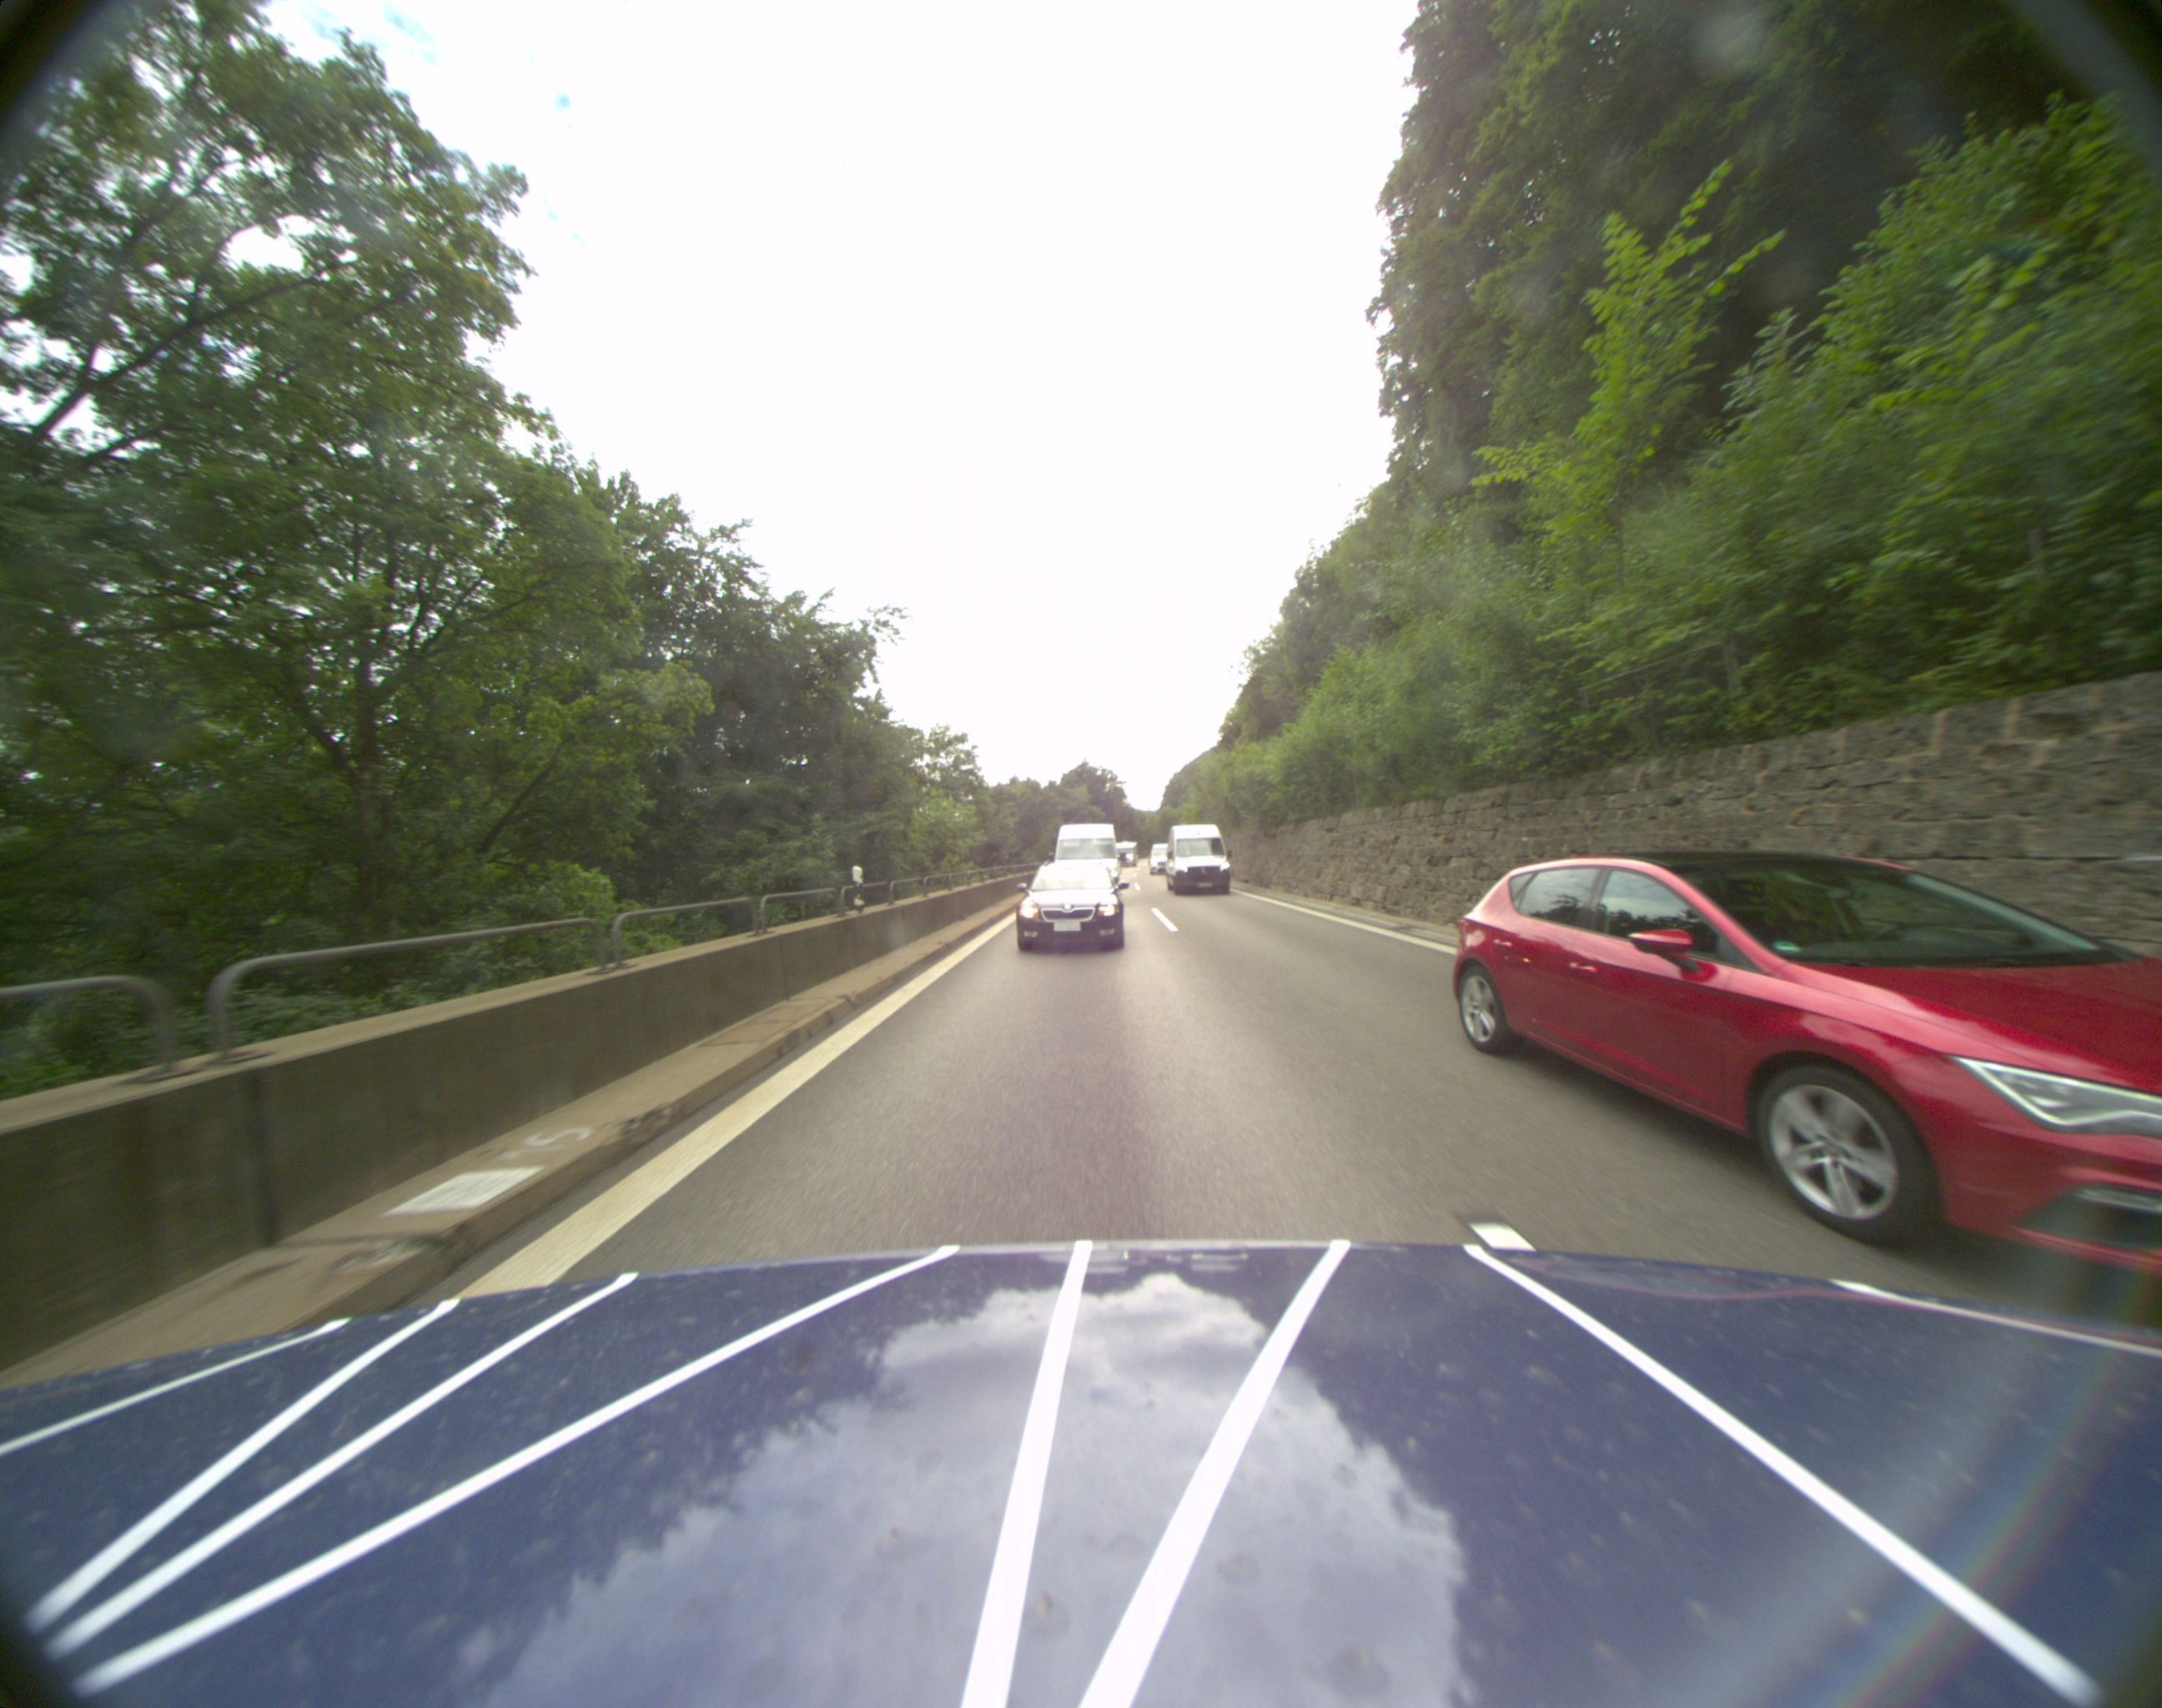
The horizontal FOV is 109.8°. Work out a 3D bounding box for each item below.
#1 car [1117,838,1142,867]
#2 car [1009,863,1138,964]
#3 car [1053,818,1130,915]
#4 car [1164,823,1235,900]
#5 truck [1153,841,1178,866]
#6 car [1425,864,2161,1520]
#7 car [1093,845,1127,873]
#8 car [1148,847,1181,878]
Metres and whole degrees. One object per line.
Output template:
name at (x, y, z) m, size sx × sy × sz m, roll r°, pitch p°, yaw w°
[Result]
car at (5.403, -0.193, 83.746) m, size 2.275 × 2.941 × 7.189 m, roll -2°, pitch 1°, yaw 7°
car at (-0.229, 0.937, 14.496) m, size 1.913 × 1.391 × 5.695 m, roll -3°, pitch 0°, yaw -3°
car at (0.314, 0.309, 23.413) m, size 1.998 × 2.550 × 5.917 m, roll -2°, pitch 1°, yaw 1°
car at (4.412, 0.216, 29.279) m, size 2.030 × 2.570 × 6.275 m, roll -2°, pitch 1°, yaw 4°
truck at (8.351, -0.099, 74.806) m, size 1.997 × 2.266 × 6.590 m, roll -3°, pitch 0°, yaw 10°
car at (3.577, 0.862, 3.818) m, size 1.770 × 1.451 × 4.411 m, roll -2°, pitch 1°, yaw 2°
car at (2.215, 0.352, 57.429) m, size 1.997 × 1.871 × 4.002 m, roll -3°, pitch 1°, yaw 10°
car at (6.019, 0.545, 54.103) m, size 1.997 × 1.941 × 6.151 m, roll -3°, pitch 0°, yaw 8°
